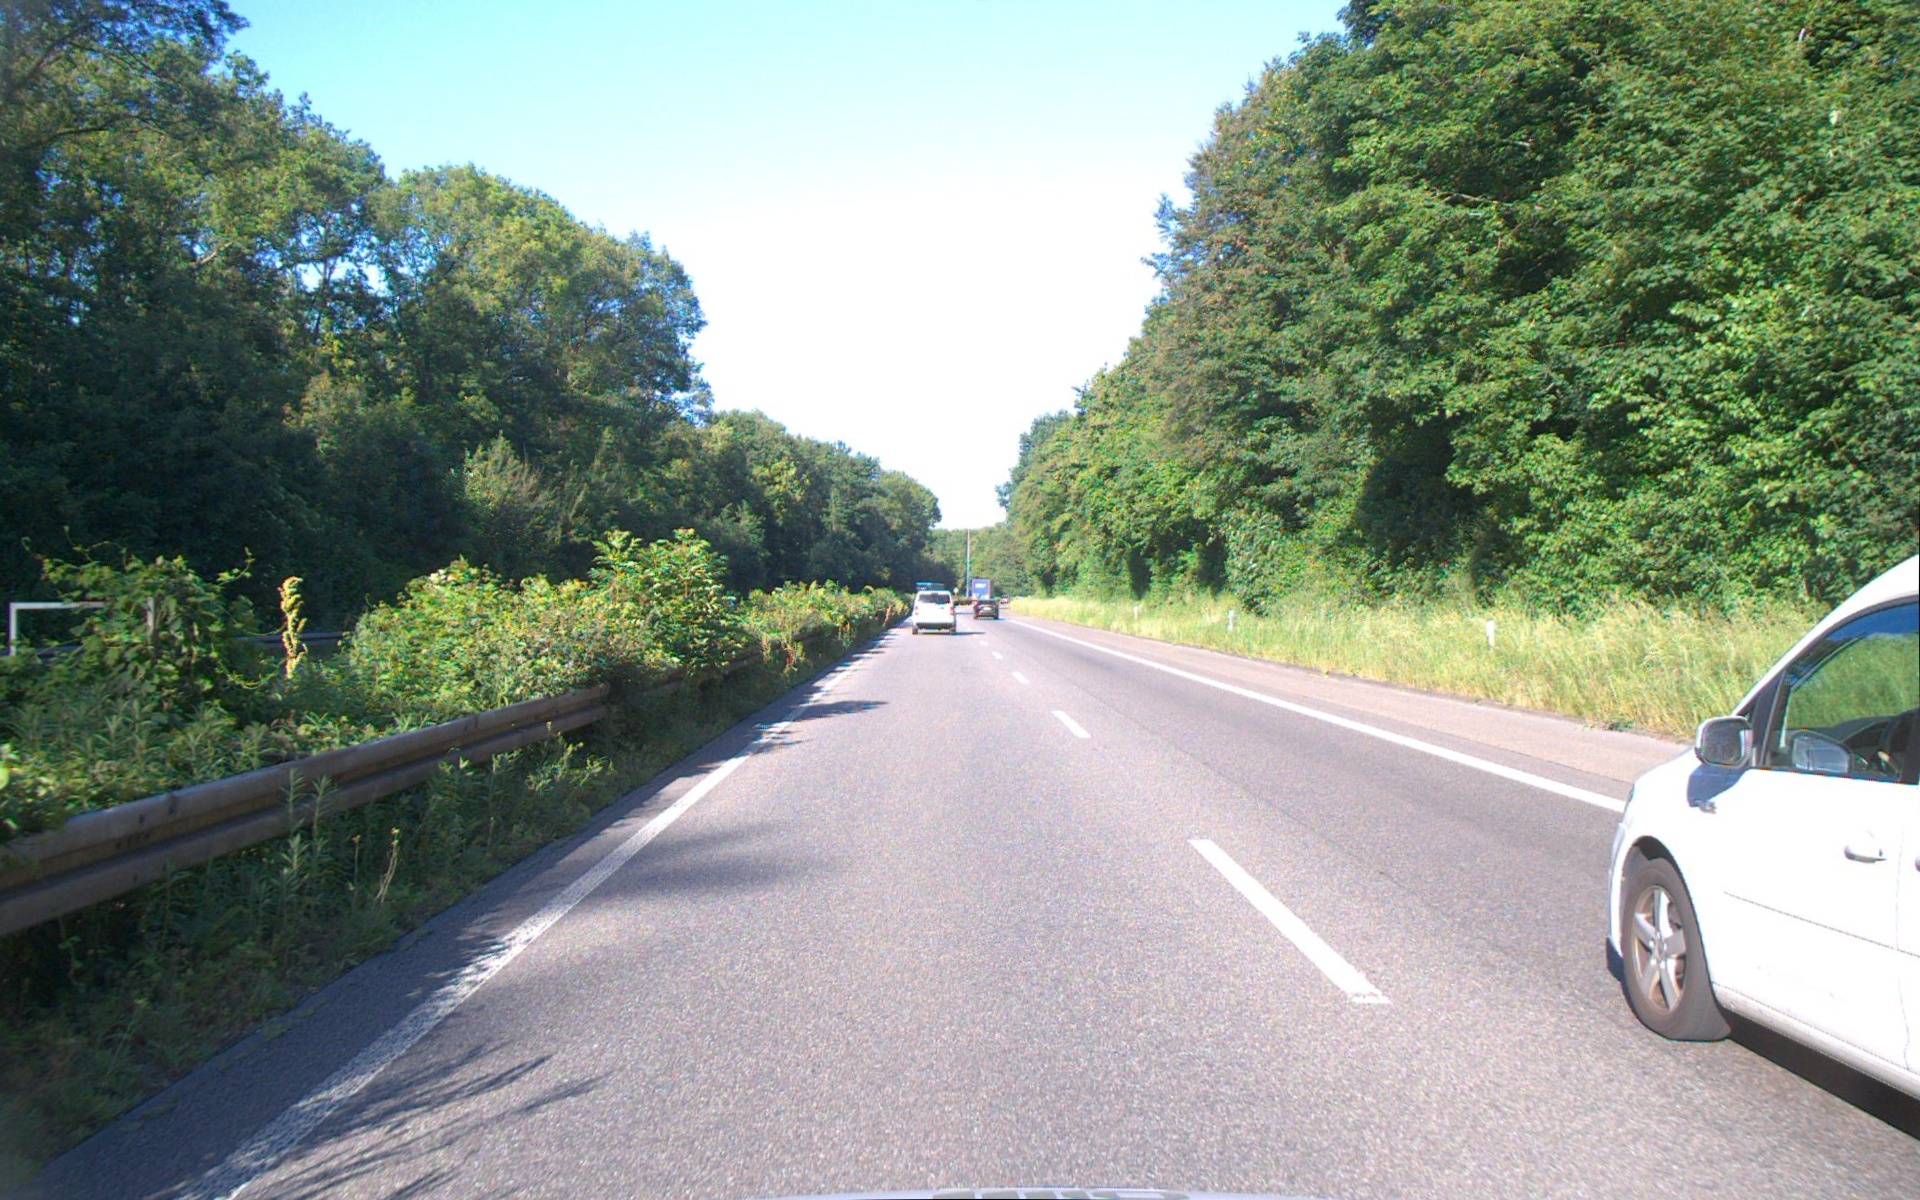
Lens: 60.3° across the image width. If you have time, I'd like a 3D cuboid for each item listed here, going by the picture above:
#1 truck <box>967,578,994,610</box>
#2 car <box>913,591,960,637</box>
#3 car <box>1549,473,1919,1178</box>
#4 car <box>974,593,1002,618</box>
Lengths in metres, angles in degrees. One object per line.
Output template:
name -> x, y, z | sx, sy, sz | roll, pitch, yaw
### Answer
truck -> 2.936, -0.828, 233.093 | 3.657, 4.419, 9.305 | 0, 0, 1
car -> -0.996, 0.570, 69.422 | 1.912, 1.813, 4.586 | 0, 0, -1
car -> 3.388, 0.595, 4.634 | 1.762, 1.844, 4.586 | 0, 0, -1
car -> 2.015, 0.406, 120.644 | 1.912, 1.813, 4.586 | 0, 0, -1
